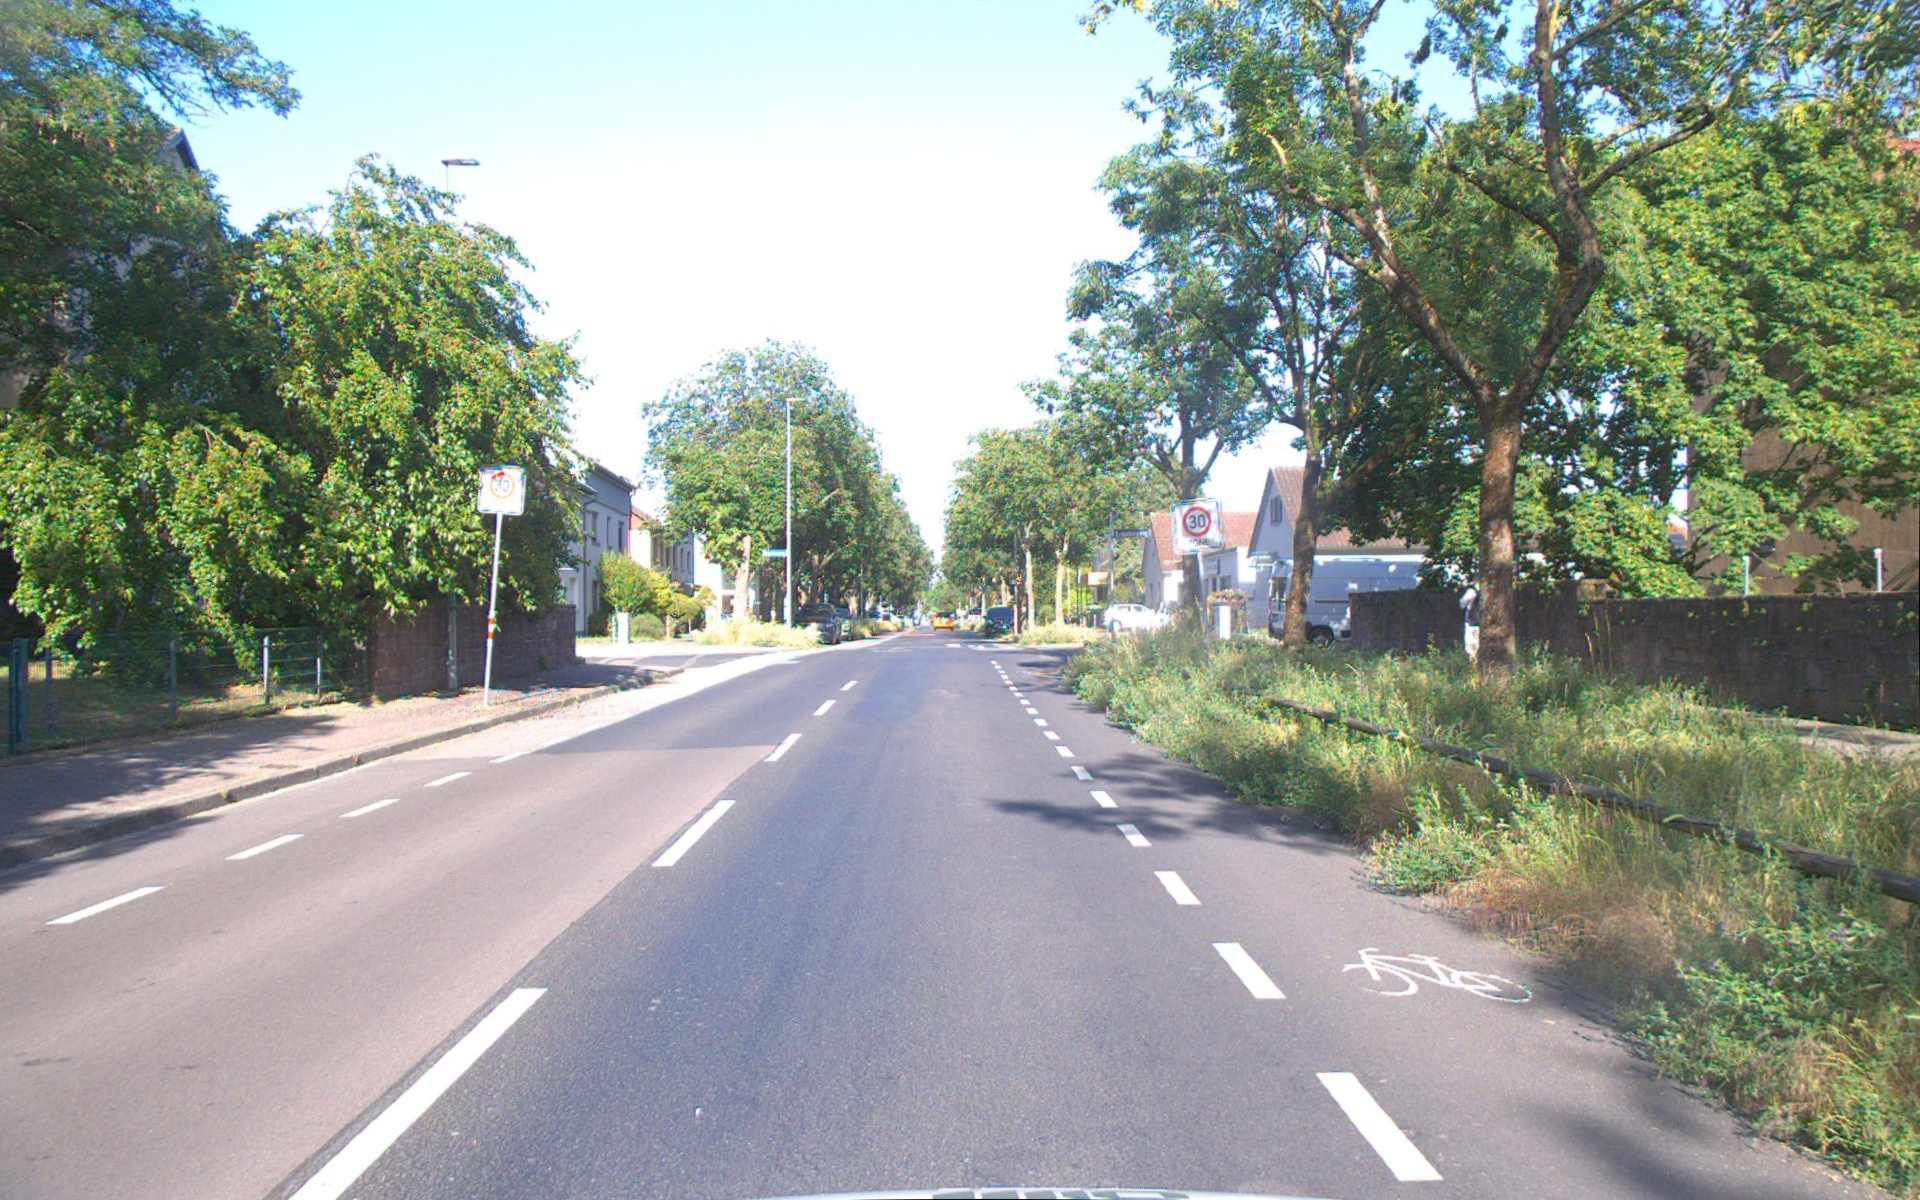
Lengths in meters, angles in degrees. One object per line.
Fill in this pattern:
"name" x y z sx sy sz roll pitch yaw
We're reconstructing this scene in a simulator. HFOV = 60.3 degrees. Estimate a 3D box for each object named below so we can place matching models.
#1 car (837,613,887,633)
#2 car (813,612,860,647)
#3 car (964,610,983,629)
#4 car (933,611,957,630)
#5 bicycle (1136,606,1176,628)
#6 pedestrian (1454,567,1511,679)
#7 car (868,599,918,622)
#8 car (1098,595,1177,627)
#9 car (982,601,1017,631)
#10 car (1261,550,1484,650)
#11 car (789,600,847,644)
"car" -8.876 2.081 150.254 4.457 1.796 1.998 1 1 -6
"car" -5.993 1.447 80.438 1.899 1.637 4.383 1 -2 0
"car" 1.406 2.006 169.500 1.864 1.805 4.300 1 -1 0
"car" -1.262 1.709 139.862 1.850 1.505 3.885 1 -1 -3
"bicycle" 10.088 0.879 85.201 1.919 1.016 0.576 -2 1 -2
"pedestrian" 8.317 0.354 26.353 0.624 1.735 0.612 -3 1 -2
"car" -7.234 1.115 178.335 5.388 2.287 2.516 1 1 -3
"car" 9.447 0.572 88.190 3.907 1.514 1.901 -3 1 -2
"car" 2.278 0.940 96.379 1.815 1.654 4.468 -2 -1 -1
"car" 11.276 -0.014 45.477 5.483 2.583 2.264 -1 0 -4
"car" -5.847 0.940 68.674 1.913 1.757 4.874 1 -2 0
